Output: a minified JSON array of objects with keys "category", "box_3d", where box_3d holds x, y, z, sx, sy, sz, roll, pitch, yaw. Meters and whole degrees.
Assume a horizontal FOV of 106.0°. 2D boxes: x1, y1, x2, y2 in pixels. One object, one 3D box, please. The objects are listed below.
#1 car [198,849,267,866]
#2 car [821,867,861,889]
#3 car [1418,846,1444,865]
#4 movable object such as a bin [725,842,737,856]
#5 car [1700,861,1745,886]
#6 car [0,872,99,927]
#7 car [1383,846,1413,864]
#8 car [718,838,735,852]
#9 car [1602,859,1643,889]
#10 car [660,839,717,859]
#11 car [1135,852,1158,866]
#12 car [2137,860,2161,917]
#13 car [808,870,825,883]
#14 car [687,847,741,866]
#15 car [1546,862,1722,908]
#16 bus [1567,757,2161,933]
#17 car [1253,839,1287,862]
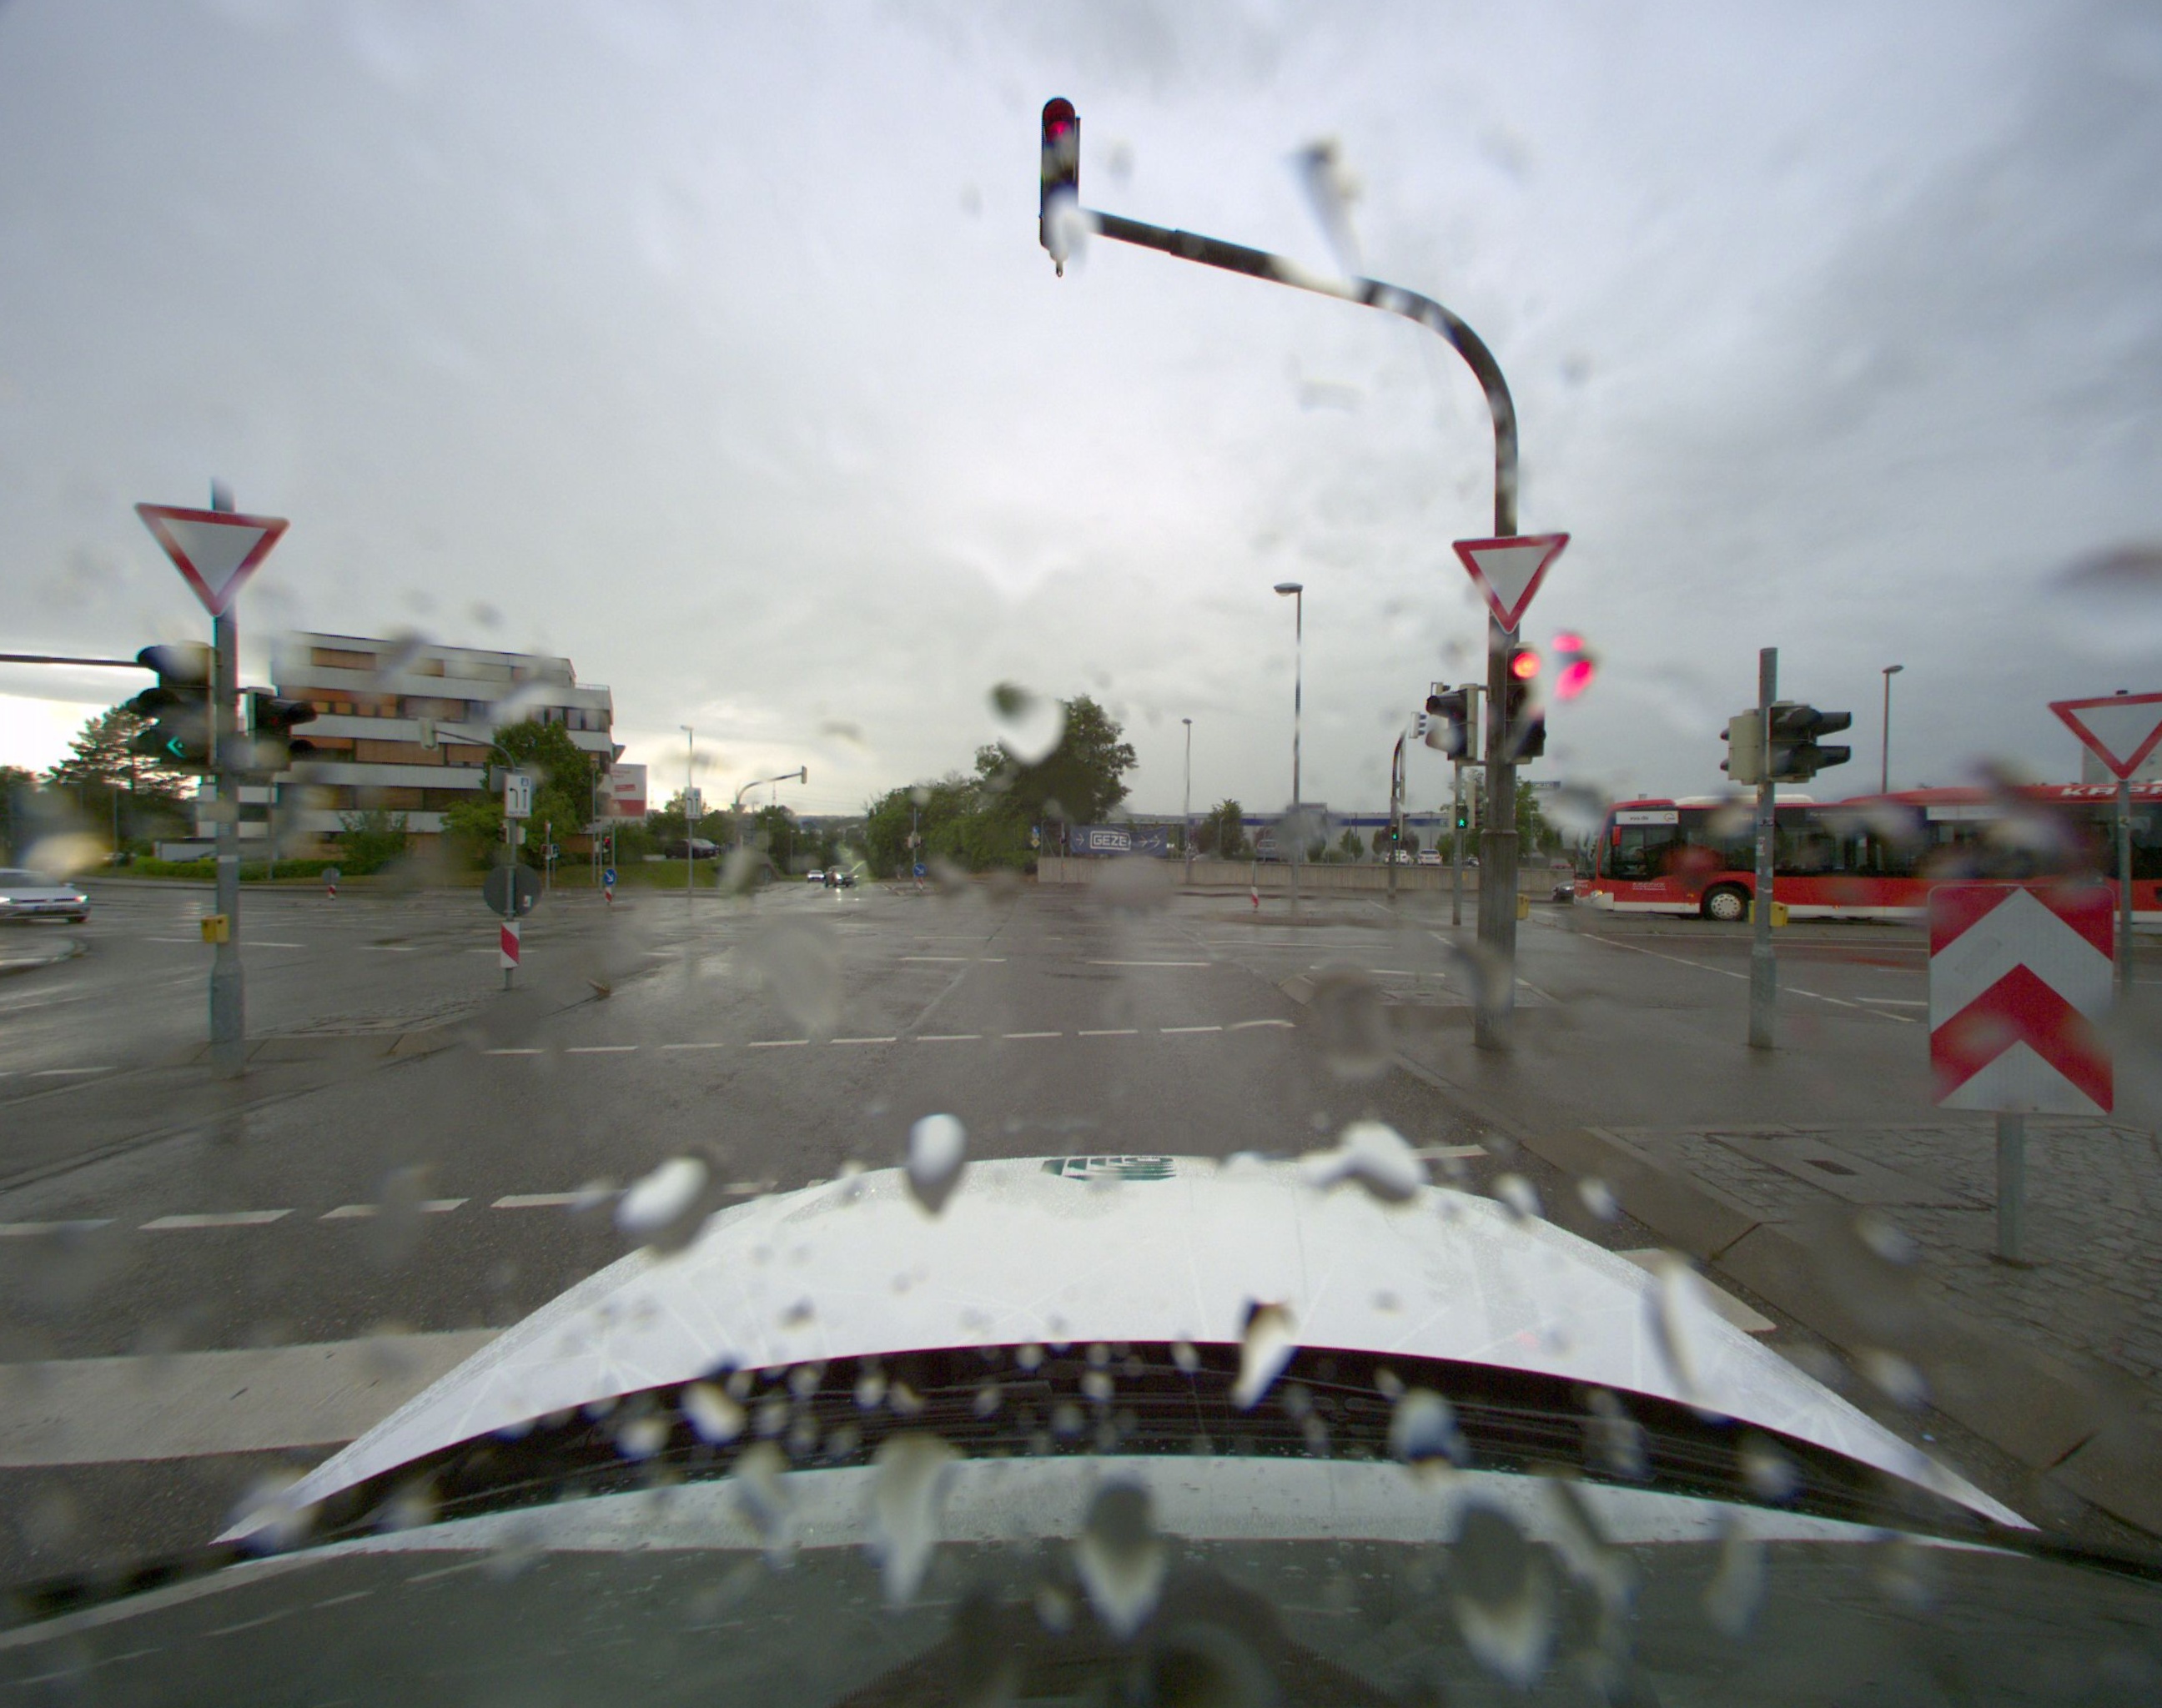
[{"category":"car","box_3d":[-70.014,0.259,67.274,3.779,1.399,1.977,0,0,-40]},{"category":"car","box_3d":[-16.871,1.673,57.125,1.673,1.494,3.958,0,-1,-33]},{"category":"car","box_3d":[28.891,0.141,67.206,1.841,1.526,4.127,-1,-1,25]},{"category":"movable object such as a bin","box_3d":[-37.771,-0.517,87.889,1.089,1.437,1.434,1,-3,-25]},{"category":"car","box_3d":[52.883,1.582,67.203,1.976,2.014,4.022,-1,-1,24]},{"category":"car","box_3d":[-28.828,1.173,21.846,4.479,1.363,1.771,-1,-1,20]},{"category":"car","box_3d":[26.464,0.118,67.895,1.800,1.434,4.128,-1,-1,28]},{"category":"car","box_3d":[-42.344,-1.083,97.200,1.836,1.442,3.967,1,-2,-25]},{"category":"car","box_3d":[38.138,1.395,57.425,1.727,2.014,3.844,-1,-1,23]},{"category":"car","box_3d":[-33.436,-0.429,69.355,3.962,1.586,1.907,0,-2,10]},{"category":"car","box_3d":[7.755,0.590,95.910,1.651,1.606,3.550,-1,-1,23]},{"category":"car","box_3d":[31.682,0.956,21.514,4.344,1.538,1.834,0,0,18]},{"category":"car","box_3d":[-31.195,2.592,96.171,1.723,1.494,3.978,0,-1,-16]},{"category":"car","box_3d":[-32.612,0.238,72.337,3.958,1.586,1.909,0,-2,14]},{"category":"car","box_3d":[17.607,0.941,26.157,4.344,1.354,1.834,0,0,18]},{"category":"bus","box_3d":[18.833,-0.281,19.294,12.152,3.576,3.001,2,0,19]},{"category":"car","box_3d":[13.345,-0.236,57.294,1.727,1.553,3.550,-1,-1,23]}]
